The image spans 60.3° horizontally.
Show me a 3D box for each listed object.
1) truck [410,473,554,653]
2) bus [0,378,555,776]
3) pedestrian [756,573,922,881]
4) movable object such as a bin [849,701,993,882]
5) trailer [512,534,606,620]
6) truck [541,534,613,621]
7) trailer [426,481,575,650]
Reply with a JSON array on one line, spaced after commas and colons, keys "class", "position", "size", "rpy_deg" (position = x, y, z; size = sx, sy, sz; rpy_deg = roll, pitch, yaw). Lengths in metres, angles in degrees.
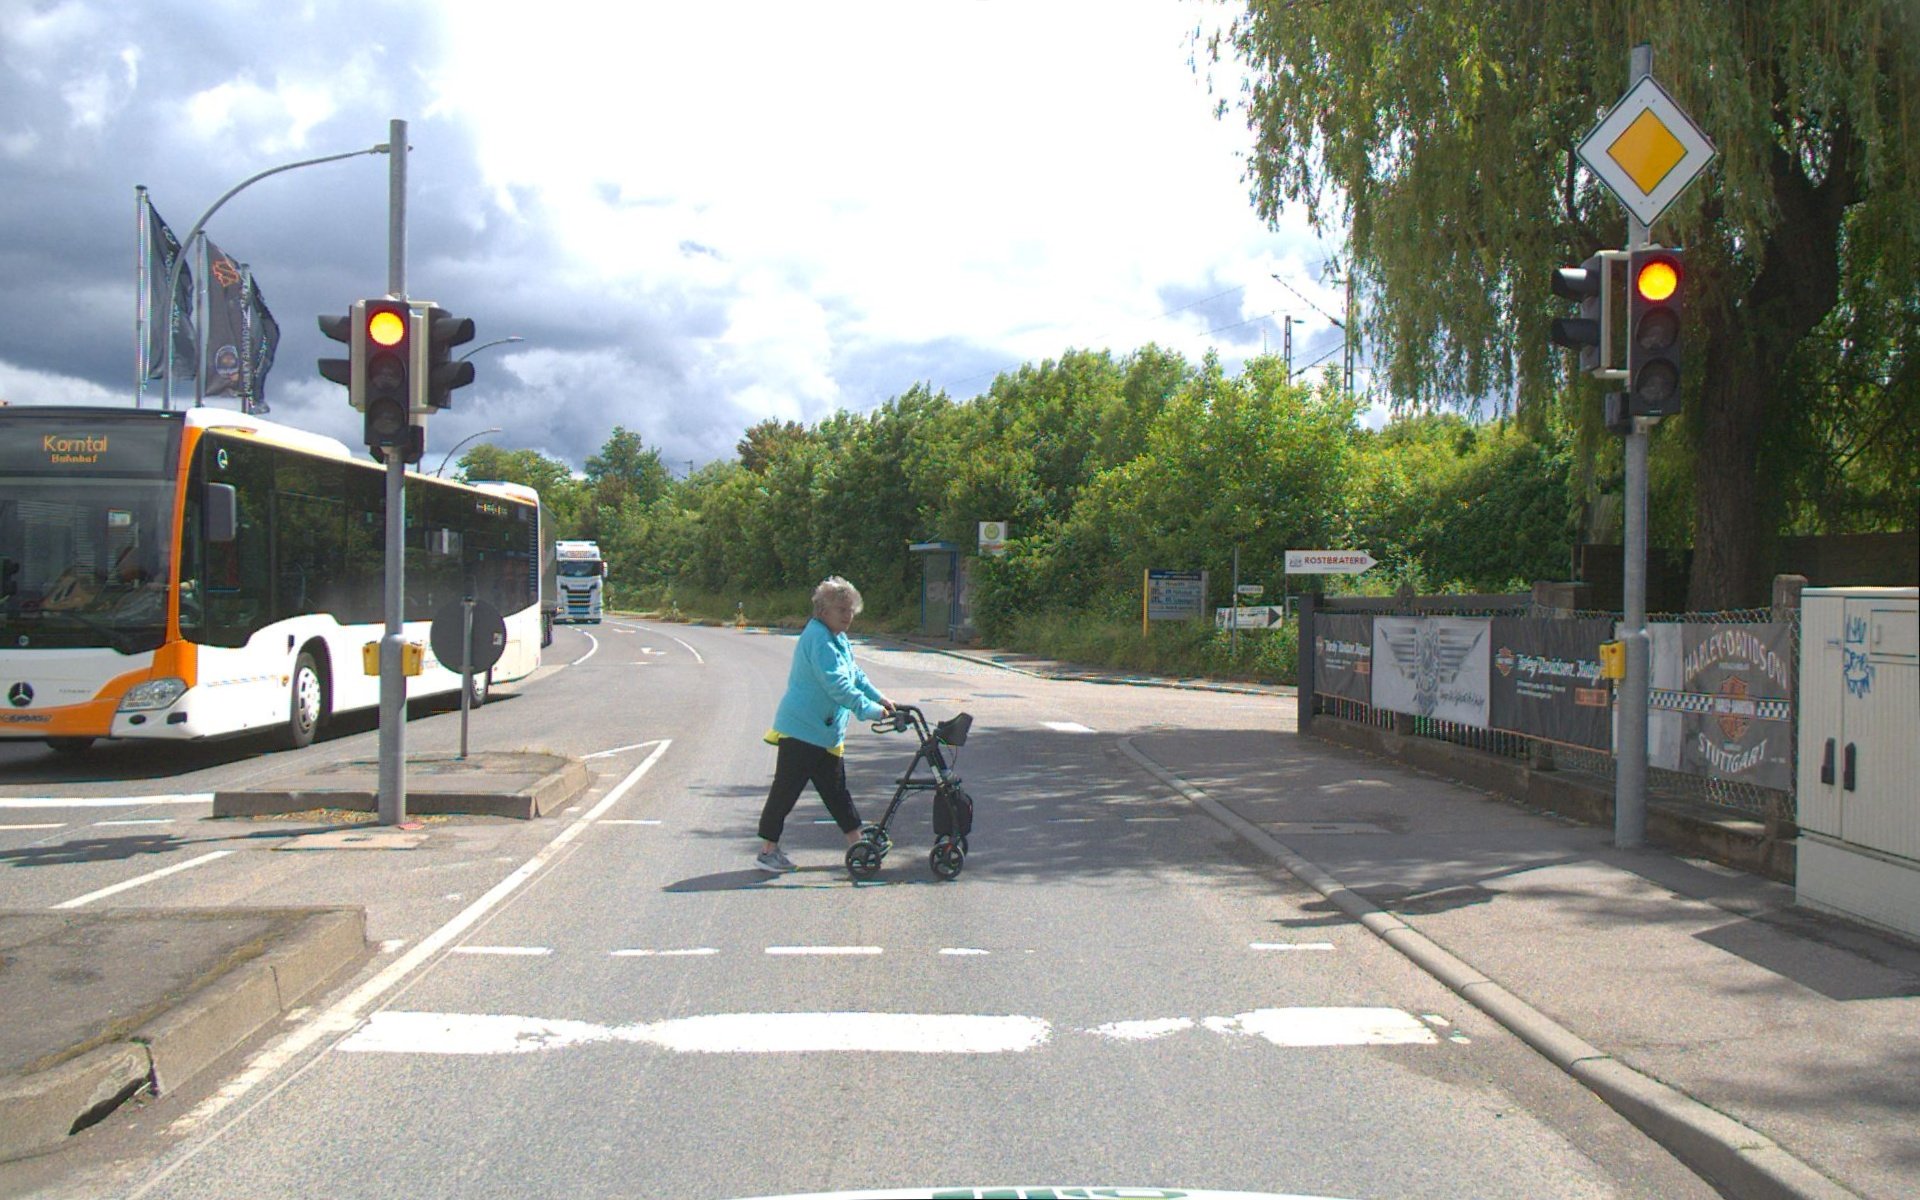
[{"class": "truck", "position": [-11.839, -0.840, 41.513], "size": [2.748, 4.124, 6.484], "rpy_deg": [1, 0, -10]}, {"class": "bus", "position": [-7.394, -0.156, 18.950], "size": [2.663, 3.084, 12.263], "rpy_deg": [0, 0, -1]}, {"class": "pedestrian", "position": [-0.642, 0.653, 8.848], "size": [0.822, 1.570, 0.733], "rpy_deg": [1, -1, -4]}, {"class": "movable object such as a bin", "position": [-0.222, 1.009, 8.869], "size": [0.731, 0.887, 0.670], "rpy_deg": [1, 0, -4]}, {"class": "trailer", "position": [-21.938, -1.138, 89.628], "size": [2.733, 4.217, 15.247], "rpy_deg": [1, 0, -22]}, {"class": "truck", "position": [-19.196, -1.081, 82.789], "size": [2.733, 4.191, 4.953], "rpy_deg": [1, 0, -22]}, {"class": "trailer", "position": [-13.179, -0.833, 48.708], "size": [2.748, 4.124, 15.517], "rpy_deg": [1, 0, -10]}]
